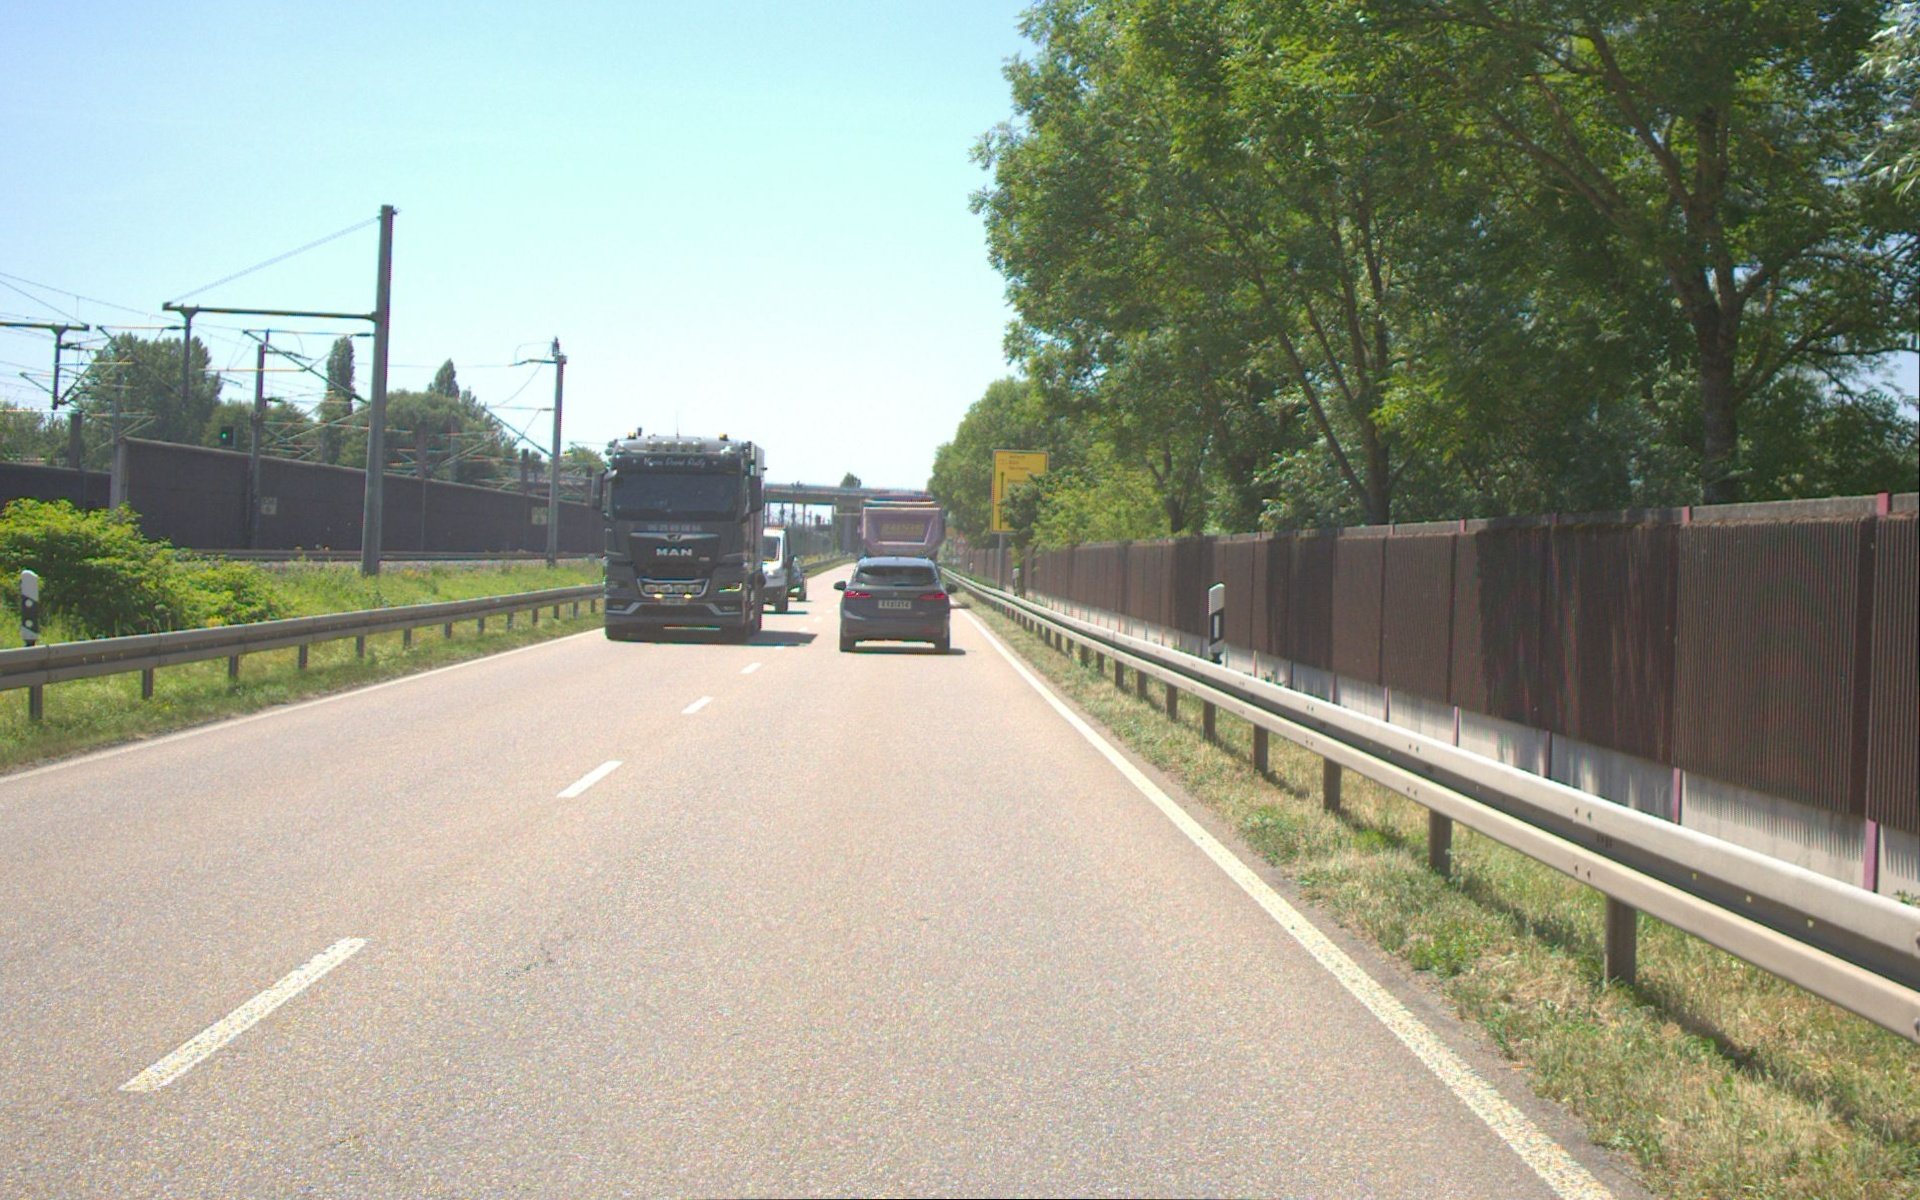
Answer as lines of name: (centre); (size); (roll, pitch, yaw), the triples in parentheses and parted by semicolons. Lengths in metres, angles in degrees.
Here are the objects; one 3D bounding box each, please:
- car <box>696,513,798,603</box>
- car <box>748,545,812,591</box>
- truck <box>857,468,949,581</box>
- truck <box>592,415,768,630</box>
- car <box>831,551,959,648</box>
car: (-5.657, -1.133, 92.005); (2.261, 2.279, 6.235); (2, 1, 0)
car: (-6.106, -1.093, 117.057); (1.975, 1.503, 4.163); (1, 1, -1)
truck: (-1.824, -2.401, 111.203); (2.770, 3.413, 10.820); (1, 1, -1)
truck: (-5.120, -1.436, 64.518); (2.658, 3.614, 10.979); (2, 1, -2)
car: (-1.123, -0.041, 57.221); (1.993, 1.503, 4.001); (1, 1, -3)
